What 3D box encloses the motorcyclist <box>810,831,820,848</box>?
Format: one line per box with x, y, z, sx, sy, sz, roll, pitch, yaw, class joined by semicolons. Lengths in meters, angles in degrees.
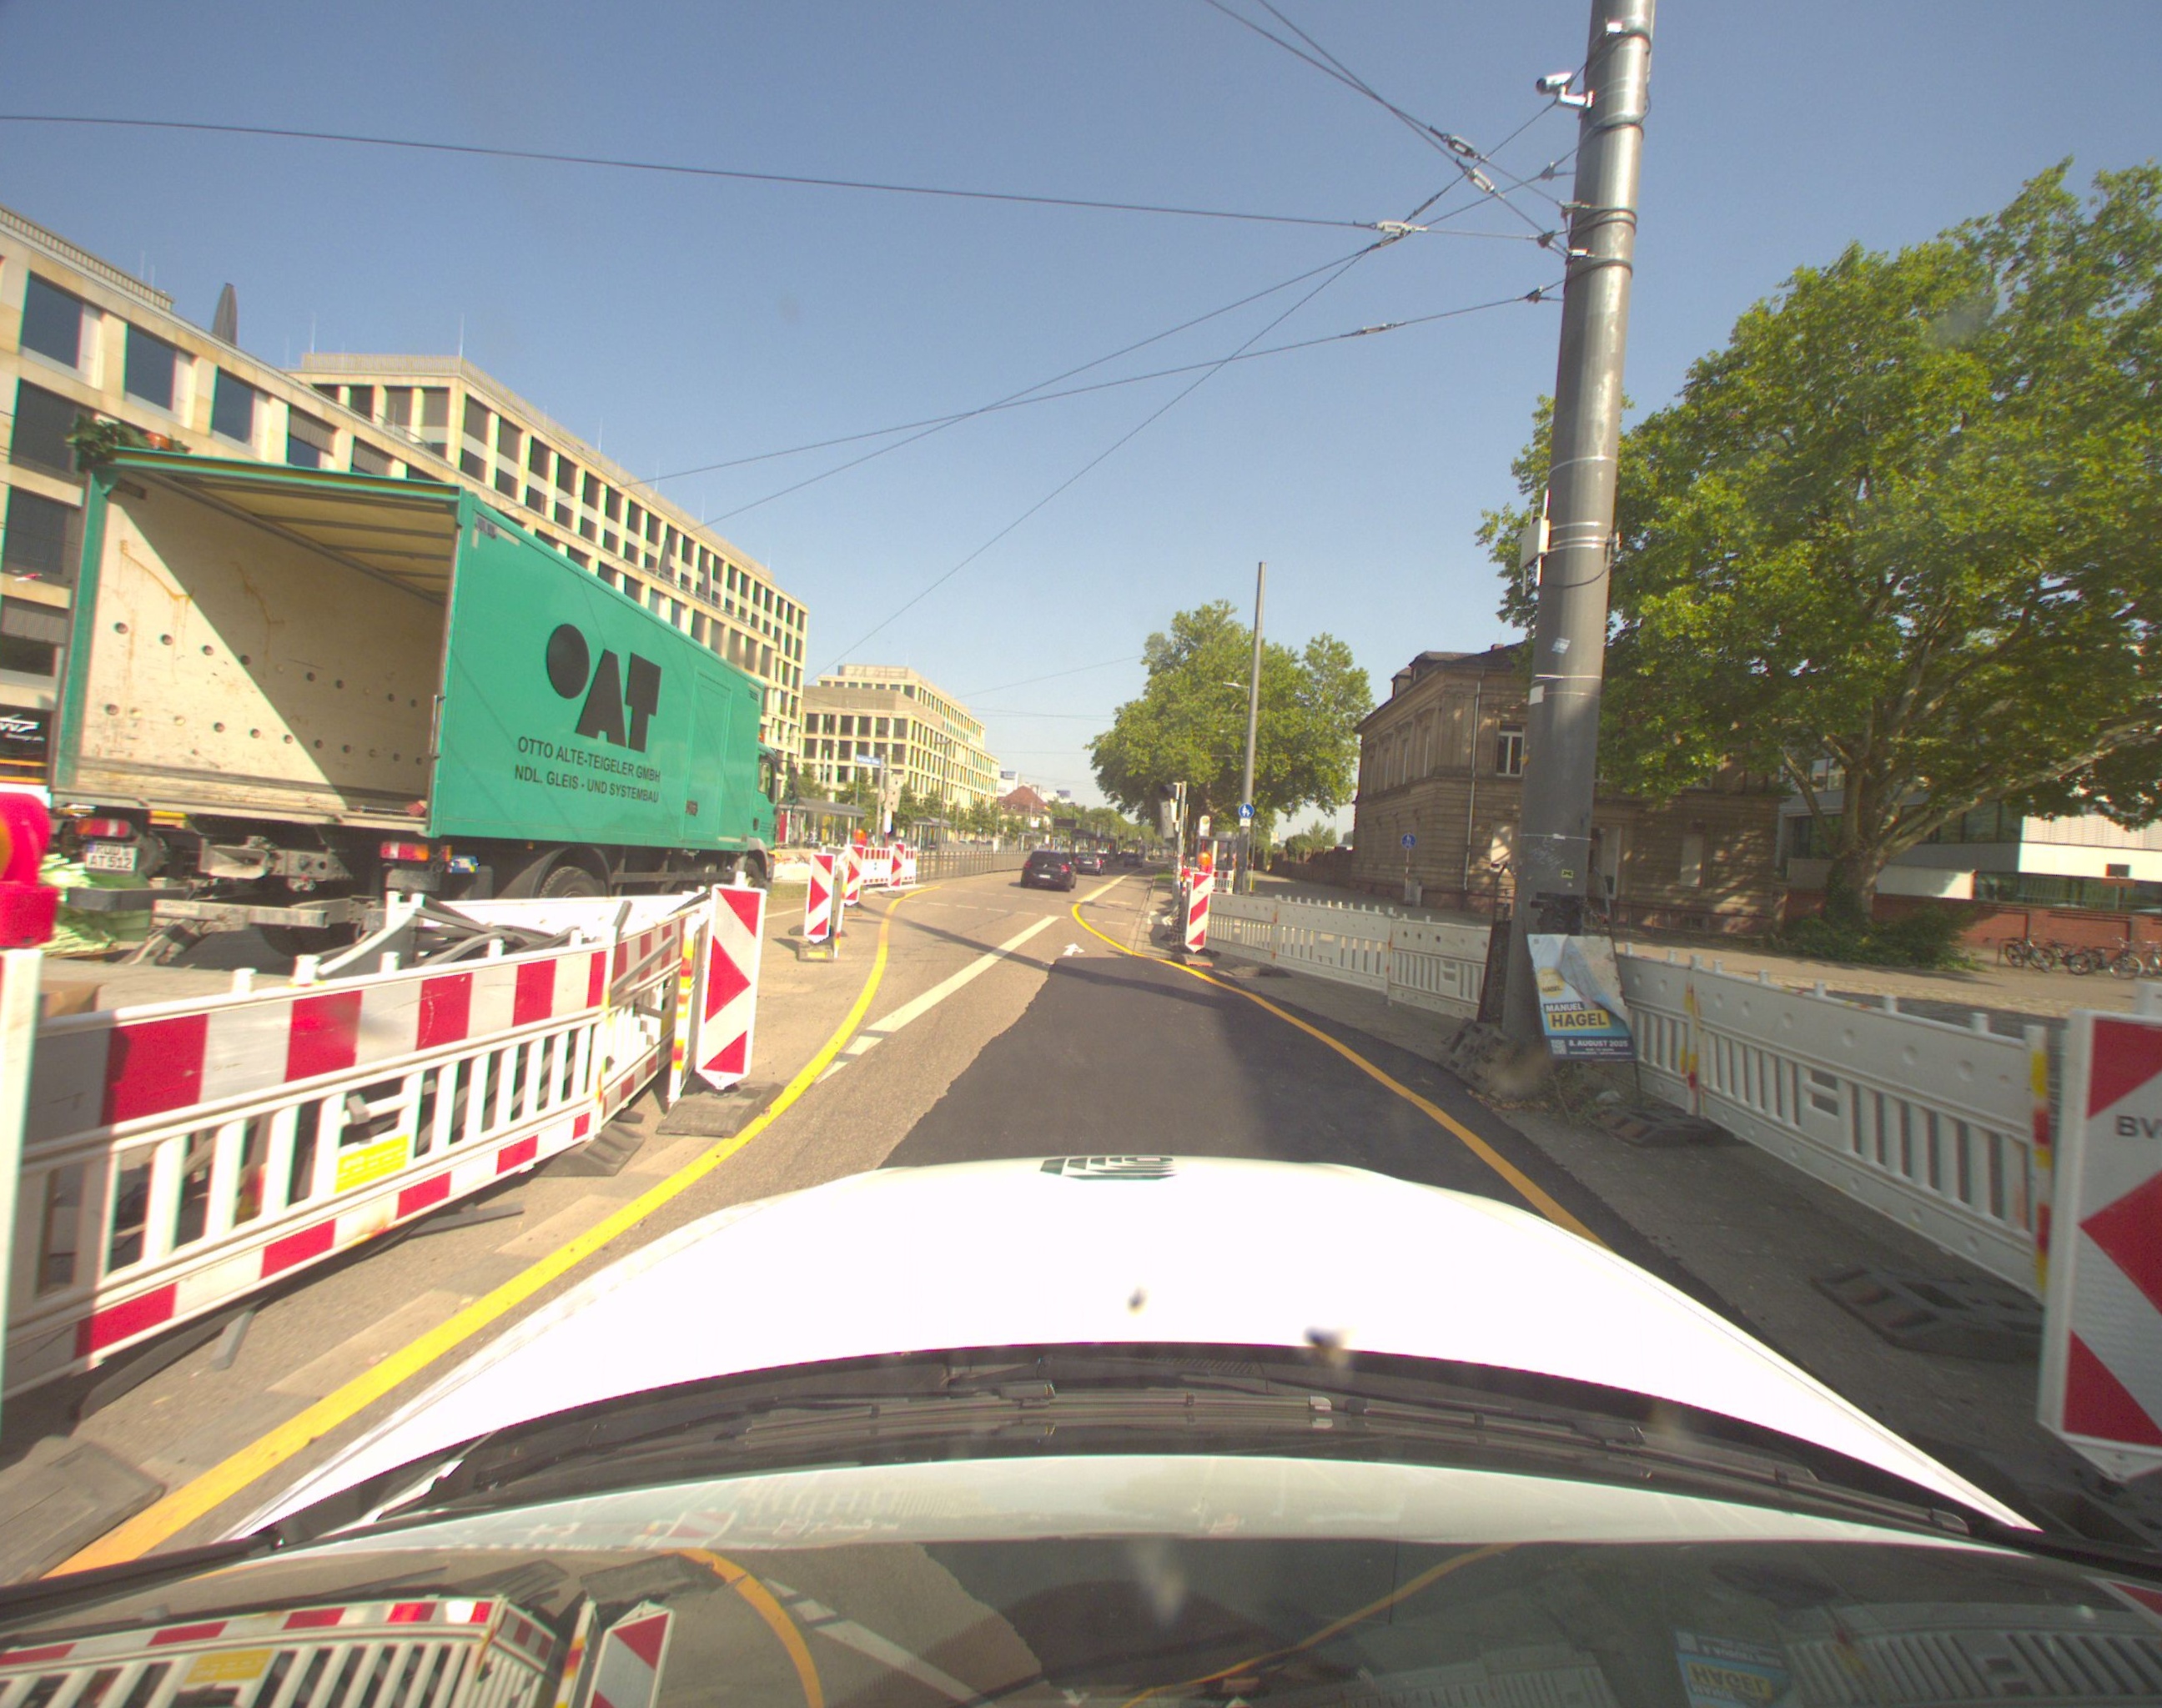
-18.772;-1.031;57.456;0.427;1.179;0.517;1;-1;11;motorcyclist

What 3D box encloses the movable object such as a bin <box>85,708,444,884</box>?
-17.534;-1.160;17.953;4.110;3.222;3.558;4;1;-9;movable object such as a bin

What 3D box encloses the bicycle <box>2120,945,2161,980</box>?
33.099;3.382;24.941;0.563;0.899;1.802;4;2;14;bicycle

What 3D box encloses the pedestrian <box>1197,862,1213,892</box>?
5.544;1.009;36.301;0.605;1.277;0.760;2;0;4;pedestrian

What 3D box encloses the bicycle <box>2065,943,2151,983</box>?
30.550;3.222;24.267;0.563;0.860;1.802;4;2;14;bicycle

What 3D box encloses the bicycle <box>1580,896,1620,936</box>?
17.085;2.033;26.831;0.495;1.166;1.634;4;0;11;bicycle

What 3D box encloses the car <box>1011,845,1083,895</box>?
-1.158;0.558;29.832;1.898;1.537;4.007;6;0;6;car

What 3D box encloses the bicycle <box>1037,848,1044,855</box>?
-6.473;-0.404;131.695;0.467;1.147;1.491;4;0;22;bicycle

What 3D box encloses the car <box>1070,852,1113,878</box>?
0.682;0.659;49.743;1.982;1.441;4.010;4;0;9;car

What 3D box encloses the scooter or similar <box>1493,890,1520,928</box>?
14.246;1.829;27.302;0.406;1.166;1.230;4;0;11;scooter or similar

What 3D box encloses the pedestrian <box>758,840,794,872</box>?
-9.614;0.049;25.696;0.697;0.955;0.883;4;1;7;pedestrian

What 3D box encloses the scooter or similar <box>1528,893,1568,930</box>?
15.742;1.933;27.466;1.087;1.132;0.313;4;0;3;scooter or similar

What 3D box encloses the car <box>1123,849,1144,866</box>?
5.493;0.406;84.971;1.898;1.537;4.007;5;0;6;car

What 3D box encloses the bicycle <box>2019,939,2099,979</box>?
29.513;3.152;24.615;0.563;0.860;1.802;4;2;14;bicycle

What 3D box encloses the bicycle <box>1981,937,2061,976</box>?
28.605;3.091;24.825;0.642;0.860;1.802;4;2;14;bicycle

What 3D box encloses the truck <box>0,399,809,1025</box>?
-6.031;-0.943;9.602;2.801;3.788;9.007;3;1;-3;truck

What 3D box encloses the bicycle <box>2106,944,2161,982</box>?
32.400;3.325;24.724;0.563;0.899;1.802;4;2;14;bicycle
